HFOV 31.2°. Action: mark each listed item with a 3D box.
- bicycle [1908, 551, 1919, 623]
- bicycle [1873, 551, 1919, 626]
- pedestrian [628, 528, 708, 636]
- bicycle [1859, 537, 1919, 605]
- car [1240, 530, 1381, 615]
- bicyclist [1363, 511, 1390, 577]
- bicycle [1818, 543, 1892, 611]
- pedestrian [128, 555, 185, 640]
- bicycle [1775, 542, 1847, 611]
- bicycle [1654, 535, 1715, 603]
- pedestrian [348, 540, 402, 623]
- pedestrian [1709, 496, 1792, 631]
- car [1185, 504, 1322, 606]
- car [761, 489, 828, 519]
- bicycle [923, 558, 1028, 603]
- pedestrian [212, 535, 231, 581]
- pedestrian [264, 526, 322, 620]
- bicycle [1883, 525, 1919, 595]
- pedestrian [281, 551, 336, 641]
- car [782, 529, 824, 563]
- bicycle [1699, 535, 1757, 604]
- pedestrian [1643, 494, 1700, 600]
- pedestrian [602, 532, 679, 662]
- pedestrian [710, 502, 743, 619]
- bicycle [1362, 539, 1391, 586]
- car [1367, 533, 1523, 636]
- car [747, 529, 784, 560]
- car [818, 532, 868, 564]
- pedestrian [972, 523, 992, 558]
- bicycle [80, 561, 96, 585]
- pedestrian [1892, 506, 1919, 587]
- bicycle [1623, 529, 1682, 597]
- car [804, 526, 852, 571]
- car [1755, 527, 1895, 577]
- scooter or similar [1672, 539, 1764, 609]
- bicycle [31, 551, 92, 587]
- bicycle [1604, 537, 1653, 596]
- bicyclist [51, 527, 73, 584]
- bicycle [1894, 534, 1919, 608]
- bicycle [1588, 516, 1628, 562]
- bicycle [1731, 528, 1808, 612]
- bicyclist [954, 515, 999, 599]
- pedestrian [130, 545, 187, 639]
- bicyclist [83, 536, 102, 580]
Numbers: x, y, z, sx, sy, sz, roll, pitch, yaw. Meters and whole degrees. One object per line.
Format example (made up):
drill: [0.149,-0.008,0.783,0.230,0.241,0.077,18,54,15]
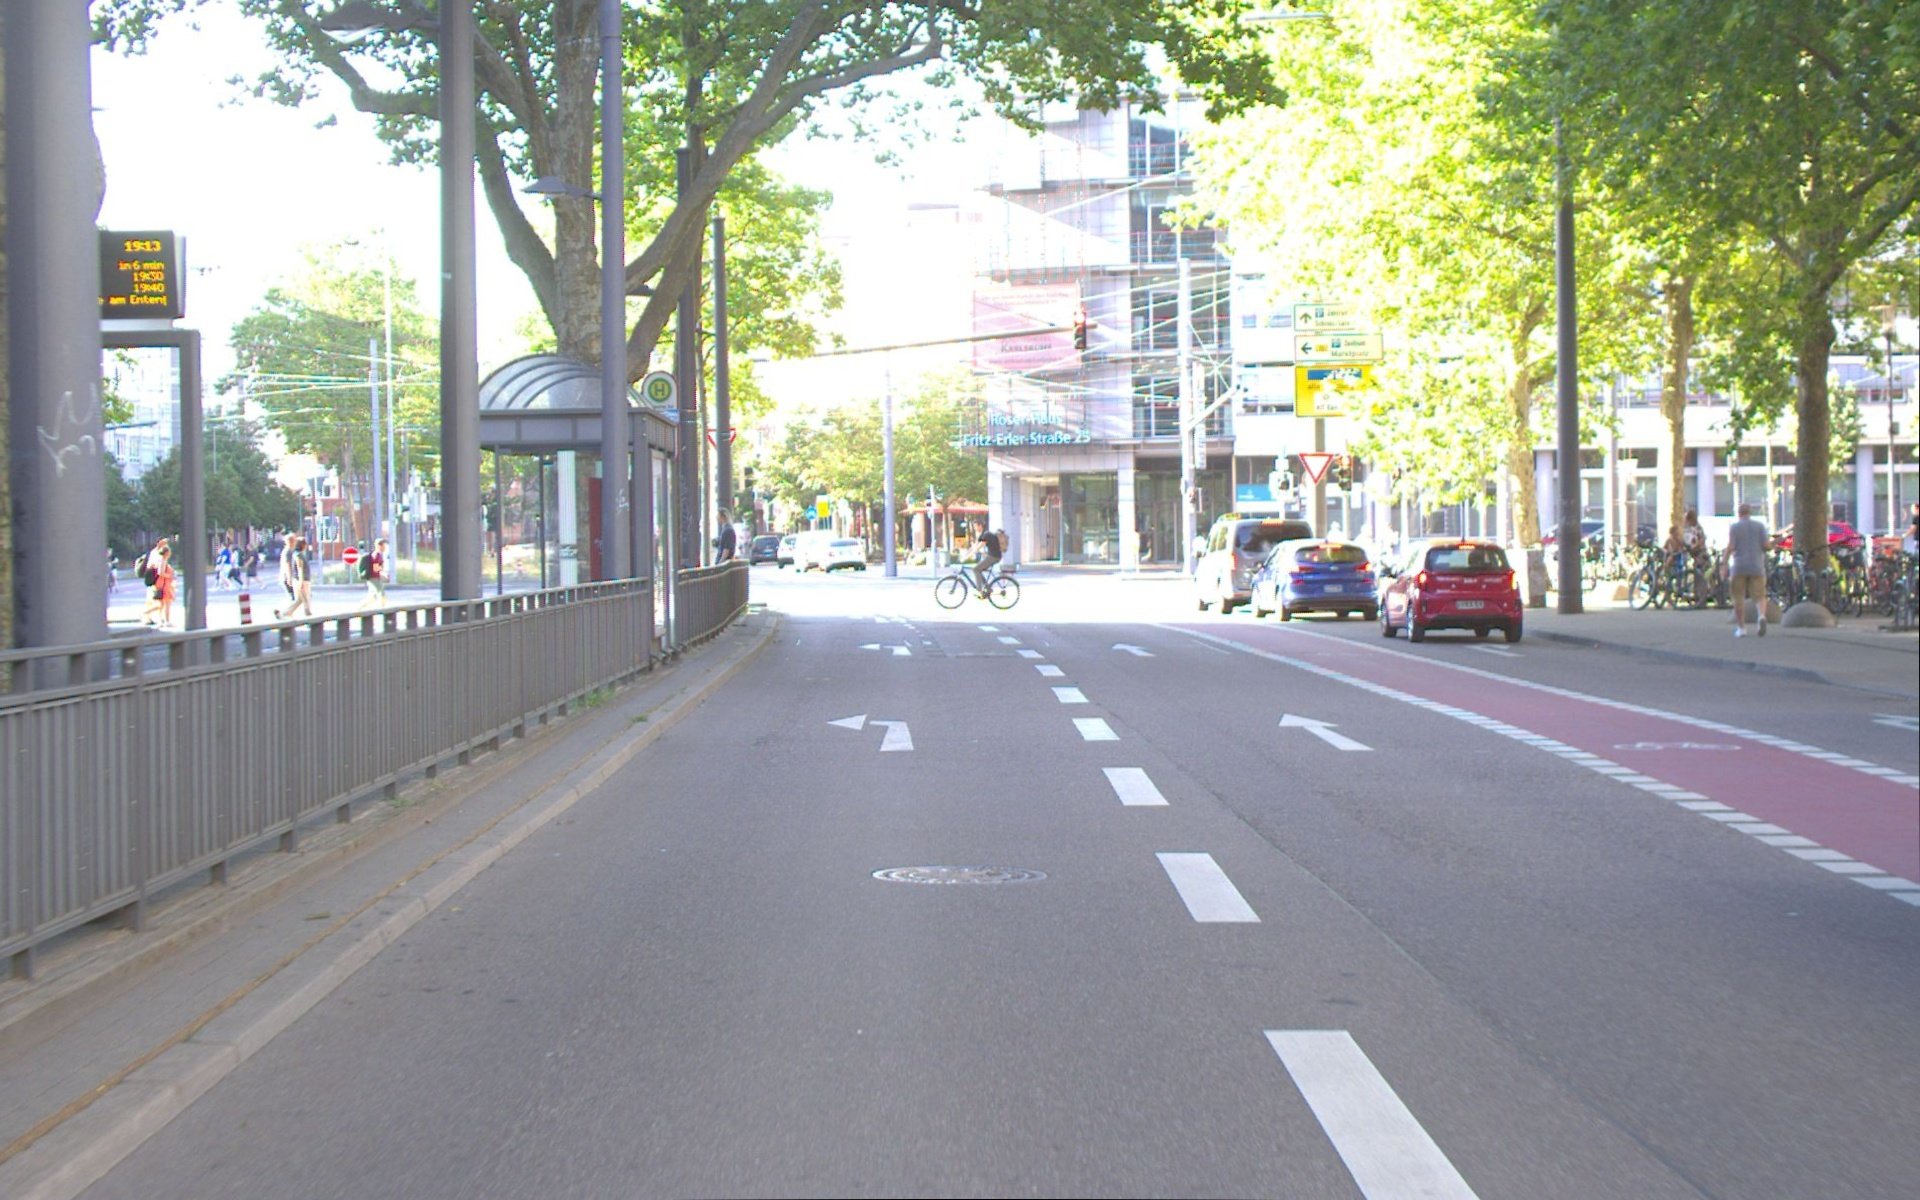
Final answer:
bicycle: [13.342,-0.166,46.623,0.451,0.977,1.762,-1,1,-1]
bicycle: [12.831,-0.171,46.545,0.451,0.977,1.762,-1,1,-1]
pedestrian: [-3.845,-0.238,45.279,0.977,1.395,0.664,1,0,1]
bicycle: [14.420,-0.454,53.117,0.502,1.028,1.655,-1,1,-4]
car: [6.362,-0.523,62.807,1.764,1.459,4.218,-1,1,-5]
bicyclist: [10.223,-1.371,84.377,0.562,1.611,0.821,-1,1,3]
bicycle: [13.807,-0.362,53.078,0.595,1.028,1.655,-1,1,-4]
pedestrian: [-15.987,-0.058,68.391,1.072,1.676,0.758,0,0,-11]
bicycle: [13.114,-0.367,53.013,0.595,1.028,1.655,-1,1,-4]
bicycle: [12.232,-0.531,58.039,0.596,1.112,1.947,-1,1,24]
pedestrian: [-12.195,-0.383,71.670,1.073,1.709,0.628,0,0,-7]
pedestrian: [10.567,-0.495,45.970,0.872,1.779,0.809,-1,1,-3]
car: [5.868,-0.919,69.398,1.993,1.959,5.138,1,1,-4]
car: [-10.022,-5.805,208.552,3.763,1.744,1.781,1,0,11]
bicycle: [0.321,-0.416,73.287,2.177,0.930,0.668,-1,1,-5]
pedestrian: [-26.848,-1.536,124.947,0.536,1.644,0.626,-2,1,-22]
pedestrian: [-13.520,-0.549,69.685,1.145,1.887,0.833,0,0,-11]
bicycle: [16.180,-0.683,58.211,0.420,1.155,1.477,-1,1,-12]
pedestrian: [-13.050,-0.085,68.905,1.071,1.800,0.758,0,0,-11]
car: [-7.884,-2.699,172.284,1.993,1.656,4.001,-1,1,-4]
bicycle: [12.920,-0.522,57.796,0.596,1.112,1.824,-1,1,24]
pedestrian: [12.083,-0.907,58.375,0.807,1.779,0.657,-1,1,23]
pedestrian: [-3.434,-0.034,36.979,0.734,1.383,0.640,1,0,1]
pedestrian: [-3.813,-0.640,56.221,0.509,1.894,0.760,1,0,-3]
bicycle: [10.233,-0.928,84.444,0.566,1.122,1.778,-1,1,3]
car: [7.136,-0.251,50.824,1.558,1.459,3.622,0,1,-4]
car: [-10.988,-3.137,193.663,1.993,1.656,4.001,-1,1,-4]
car: [-5.126,-2.281,149.982,1.993,1.327,4.001,-1,1,-4]
pedestrian: [0.911,-2.455,141.941,0.739,1.460,0.537,-1,1,-5]
bicycle: [-33.208,-1.042,130.948,0.512,0.878,1.840,-1,1,-12]
pedestrian: [21.801,-1.202,77.480,1.208,1.816,1.042,1,0,-9]
bicycle: [11.855,-0.638,58.802,0.596,1.112,1.824,-1,1,24]
car: [-6.031,-2.368,156.831,1.993,1.985,4.001,-1,1,-4]
car: [28.946,-1.609,115.077,4.241,1.555,1.795,-1,1,2]
scooter or similar: [13.161,-0.445,59.712,1.252,1.138,0.916,2,-1,-17]
bicycle: [-32.509,-1.139,124.362,2.090,1.235,0.453,-2,1,-39]
bicycle: [12.163,-0.616,62.610,0.627,1.053,1.572,-1,1,2]
bicyclist: [-32.485,-1.609,124.354,0.561,2.053,0.451,-2,1,-38]
bicycle: [14.978,-0.447,53.147,0.502,1.133,1.655,-1,1,-4]
bicycle: [14.083,-1.321,74.771,0.450,0.979,1.477,-1,1,-5]
bicycle: [12.441,-0.477,52.891,0.595,1.260,1.877,-1,1,-4]
bicyclist: [0.345,-0.918,73.283,0.849,1.779,0.753,-1,1,-5]
pedestrian: [-16.115,-0.161,69.130,1.073,1.865,0.739,0,0,-11]
bicyclist: [-33.066,-1.602,131.057,0.593,1.670,0.790,-1,1,-10]
